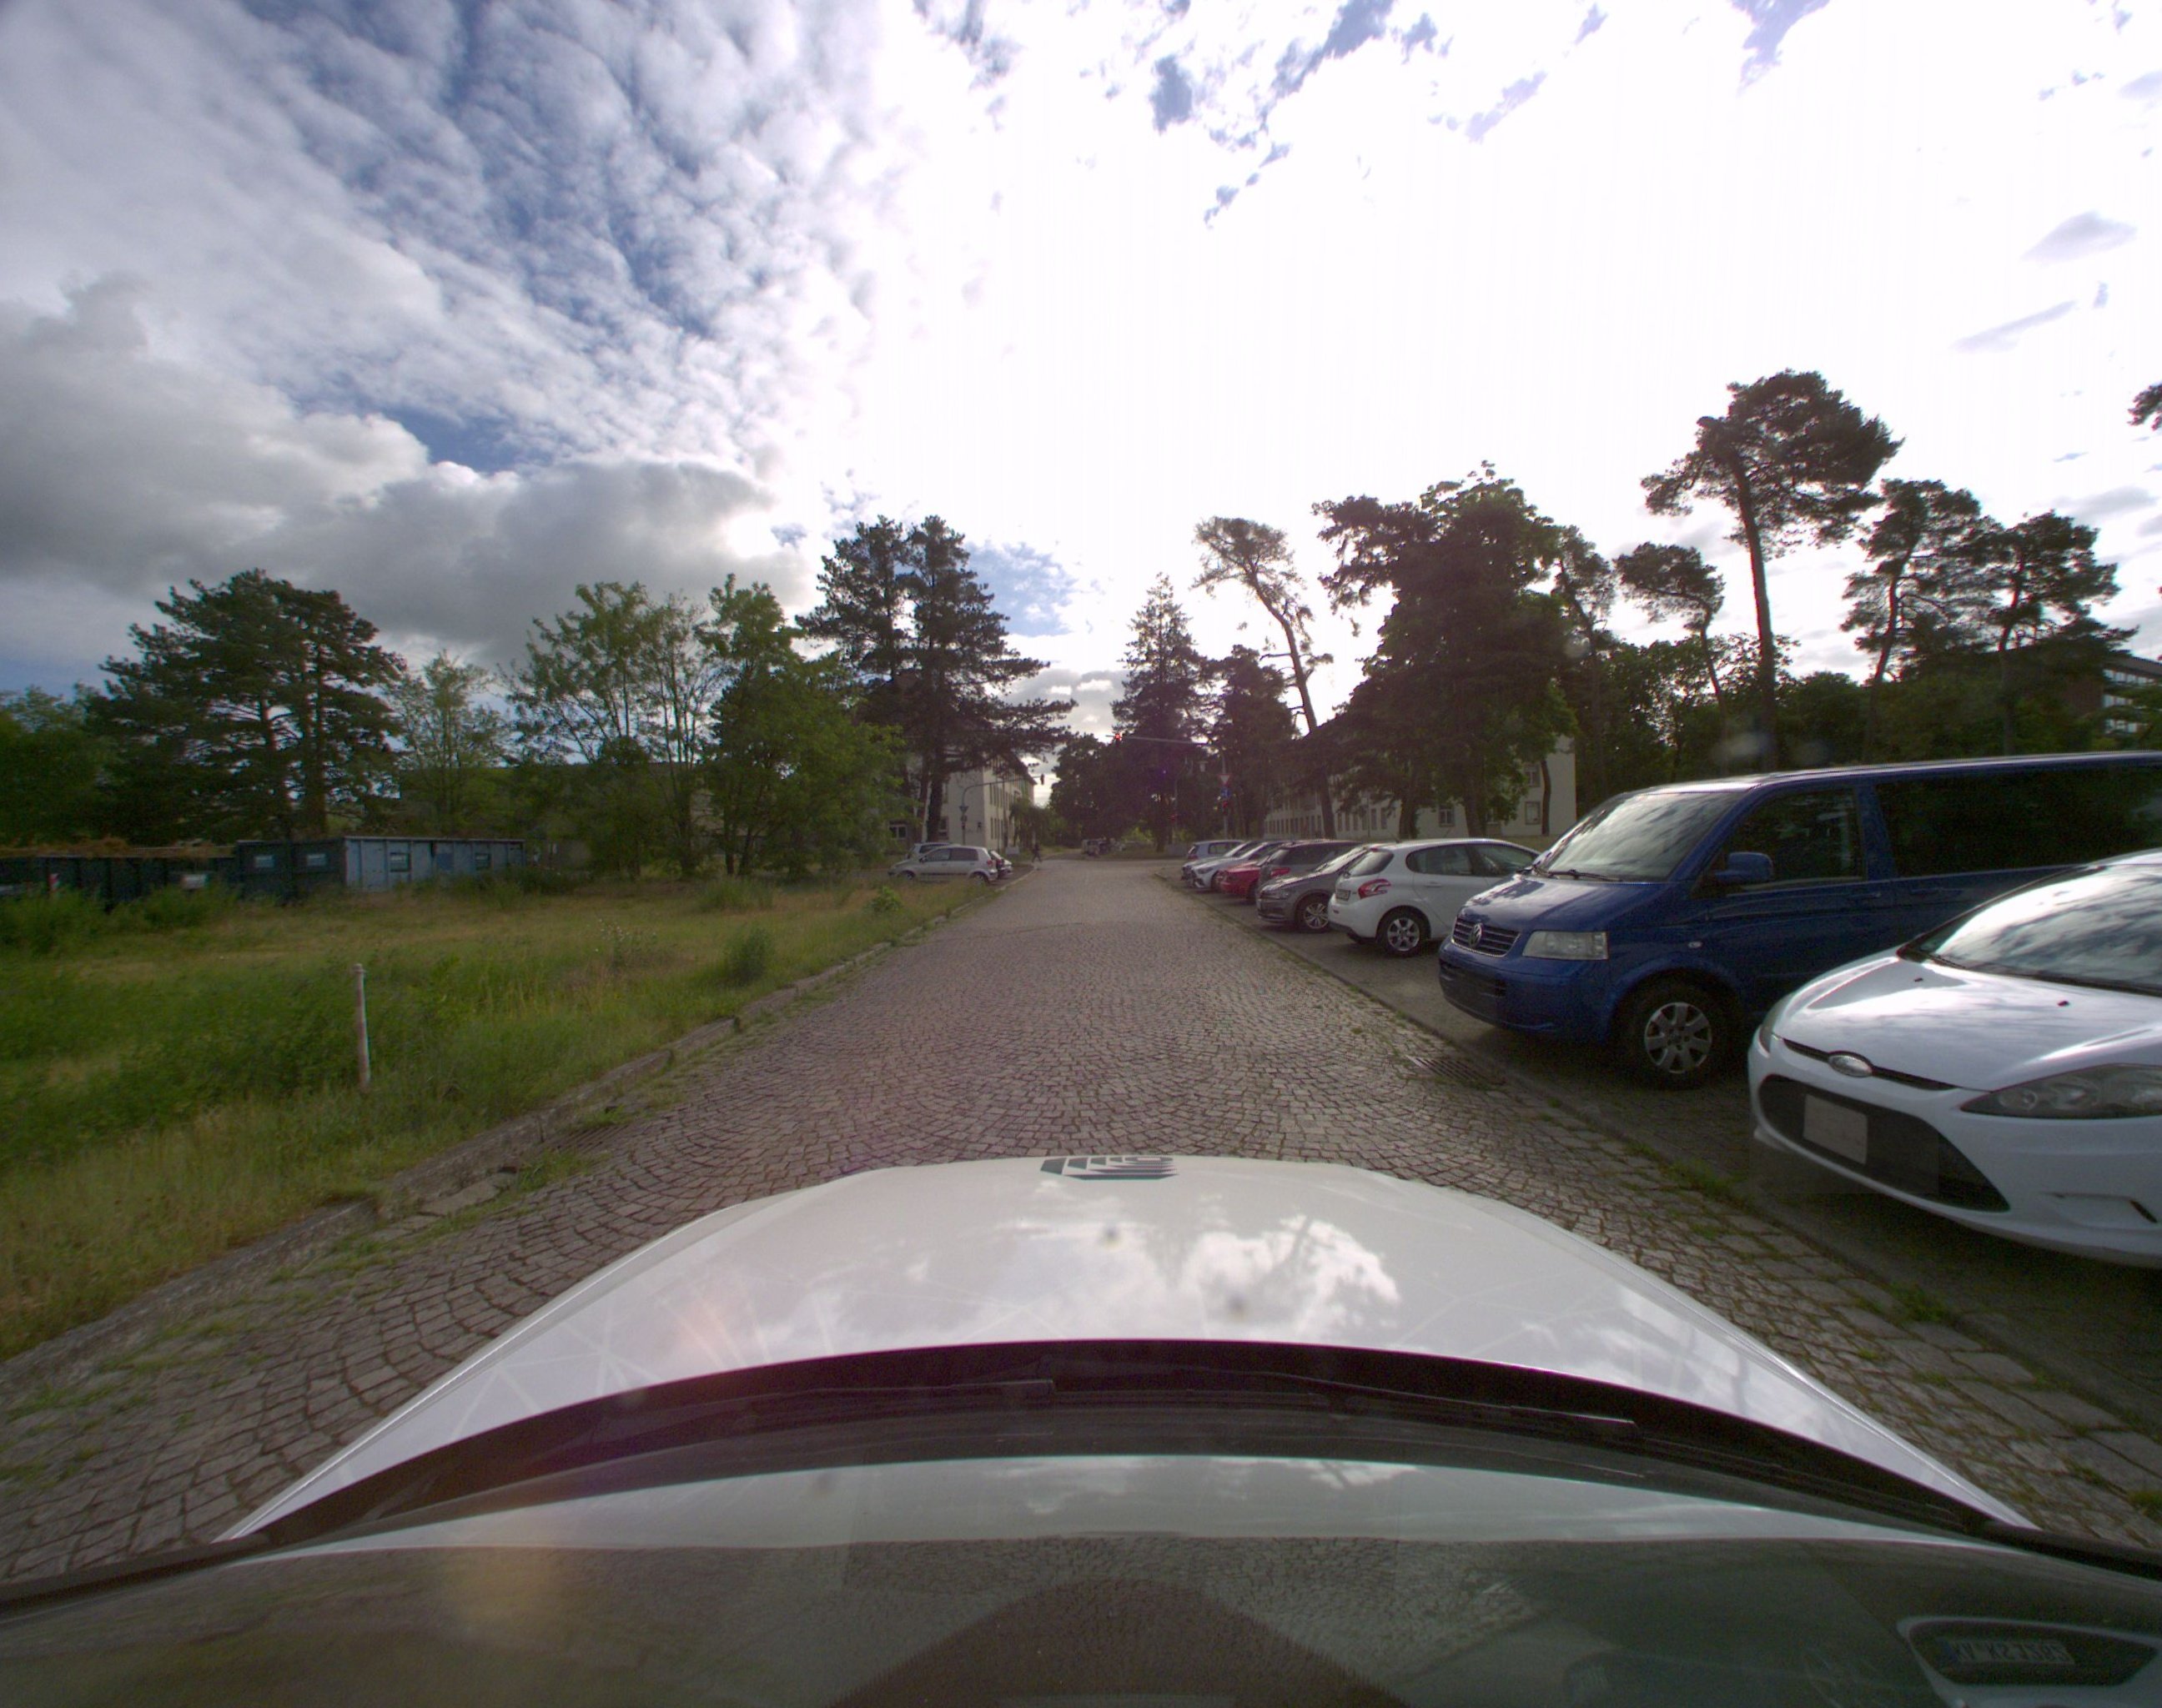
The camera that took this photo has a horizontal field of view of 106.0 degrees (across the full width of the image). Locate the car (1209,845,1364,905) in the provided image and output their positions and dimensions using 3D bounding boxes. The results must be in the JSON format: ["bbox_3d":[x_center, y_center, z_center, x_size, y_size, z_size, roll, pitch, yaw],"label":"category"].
[{"bbox_3d":[4.920,0.474,19.774,3.287,1.267,1.661,-2,1,-6],"label":"car"}]

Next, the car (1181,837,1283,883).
[{"bbox_3d":[5.480,0.191,29.639,3.384,1.543,1.388,-2,1,-6],"label":"car"}]

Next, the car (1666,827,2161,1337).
[{"bbox_3d":[4.838,0.626,3.343,3.713,1.424,1.653,-3,1,-2],"label":"car"}]

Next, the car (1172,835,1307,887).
[{"bbox_3d":[5.219,0.218,27.068,4.116,1.543,1.661,-2,1,-6],"label":"car"}]

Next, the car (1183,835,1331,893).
[{"bbox_3d":[5.190,0.259,24.255,3.981,1.543,1.661,-2,1,-6],"label":"car"}]

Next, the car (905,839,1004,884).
[{"bbox_3d":[-5.277,0.284,34.391,3.983,1.749,1.923,-1,1,-7],"label":"car"}]

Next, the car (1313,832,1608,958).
[{"bbox_3d":[5.089,0.501,11.208,3.283,1.504,1.663,-2,1,-2],"label":"car"}]

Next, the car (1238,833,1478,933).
[{"bbox_3d":[4.753,0.450,14.180,3.598,1.506,1.658,-2,1,-10],"label":"car"}]

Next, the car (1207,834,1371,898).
[{"bbox_3d":[5.566,0.293,22.020,3.981,1.543,1.661,-1,1,-6],"label":"car"}]

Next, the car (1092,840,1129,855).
[{"bbox_3d":[3.370,-0.735,93.163,3.981,1.644,1.996,-1,1,-6],"label":"car"}]

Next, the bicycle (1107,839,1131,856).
[{"bbox_3d":[3.729,-0.607,79.913,2.158,1.615,0.811,-1,1,-6],"label":"bicycle"}]

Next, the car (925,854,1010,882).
[{"bbox_3d":[-5.024,0.613,36.443,3.666,1.093,1.643,-2,1,-6],"label":"car"}]

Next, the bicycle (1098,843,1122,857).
[{"bbox_3d":[2.791,-0.421,78.617,2.158,1.268,0.811,-1,1,-6],"label":"bicycle"}]

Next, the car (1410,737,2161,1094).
[{"bbox_3d":[5.070,0.339,5.780,4.768,2.039,1.738,-2,1,-1],"label":"car"}]

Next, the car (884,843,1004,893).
[{"bbox_3d":[-4.765,0.457,28.830,3.981,1.552,1.996,-2,1,-6],"label":"car"}]

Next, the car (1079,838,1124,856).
[{"bbox_3d":[2.448,-0.871,96.439,5.051,2.013,1.993,-1,1,-10],"label":"car"}]

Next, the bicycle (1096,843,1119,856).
[{"bbox_3d":[2.574,-0.425,80.418,2.158,1.268,0.811,-1,1,-6],"label":"bicycle"}]

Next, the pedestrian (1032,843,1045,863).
[{"bbox_3d":[-3.327,-0.105,63.156,0.895,1.498,0.904,-1,1,1],"label":"pedestrian"}]

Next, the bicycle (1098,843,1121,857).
[{"bbox_3d":[2.795,-0.423,79.204,2.158,1.268,0.811,-1,1,-6],"label":"bicycle"}]

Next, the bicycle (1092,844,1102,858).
[{"bbox_3d":[1.492,-0.302,74.858,0.807,1.268,1.974,-1,1,2],"label":"bicycle"}]

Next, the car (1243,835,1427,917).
[{"bbox_3d":[5.262,0.412,17.059,3.293,1.504,1.658,-2,1,-10],"label":"car"}]

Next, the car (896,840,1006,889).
[{"bbox_3d":[-4.905,0.369,31.316,3.981,1.705,1.996,-2,1,-6],"label":"car"}]
